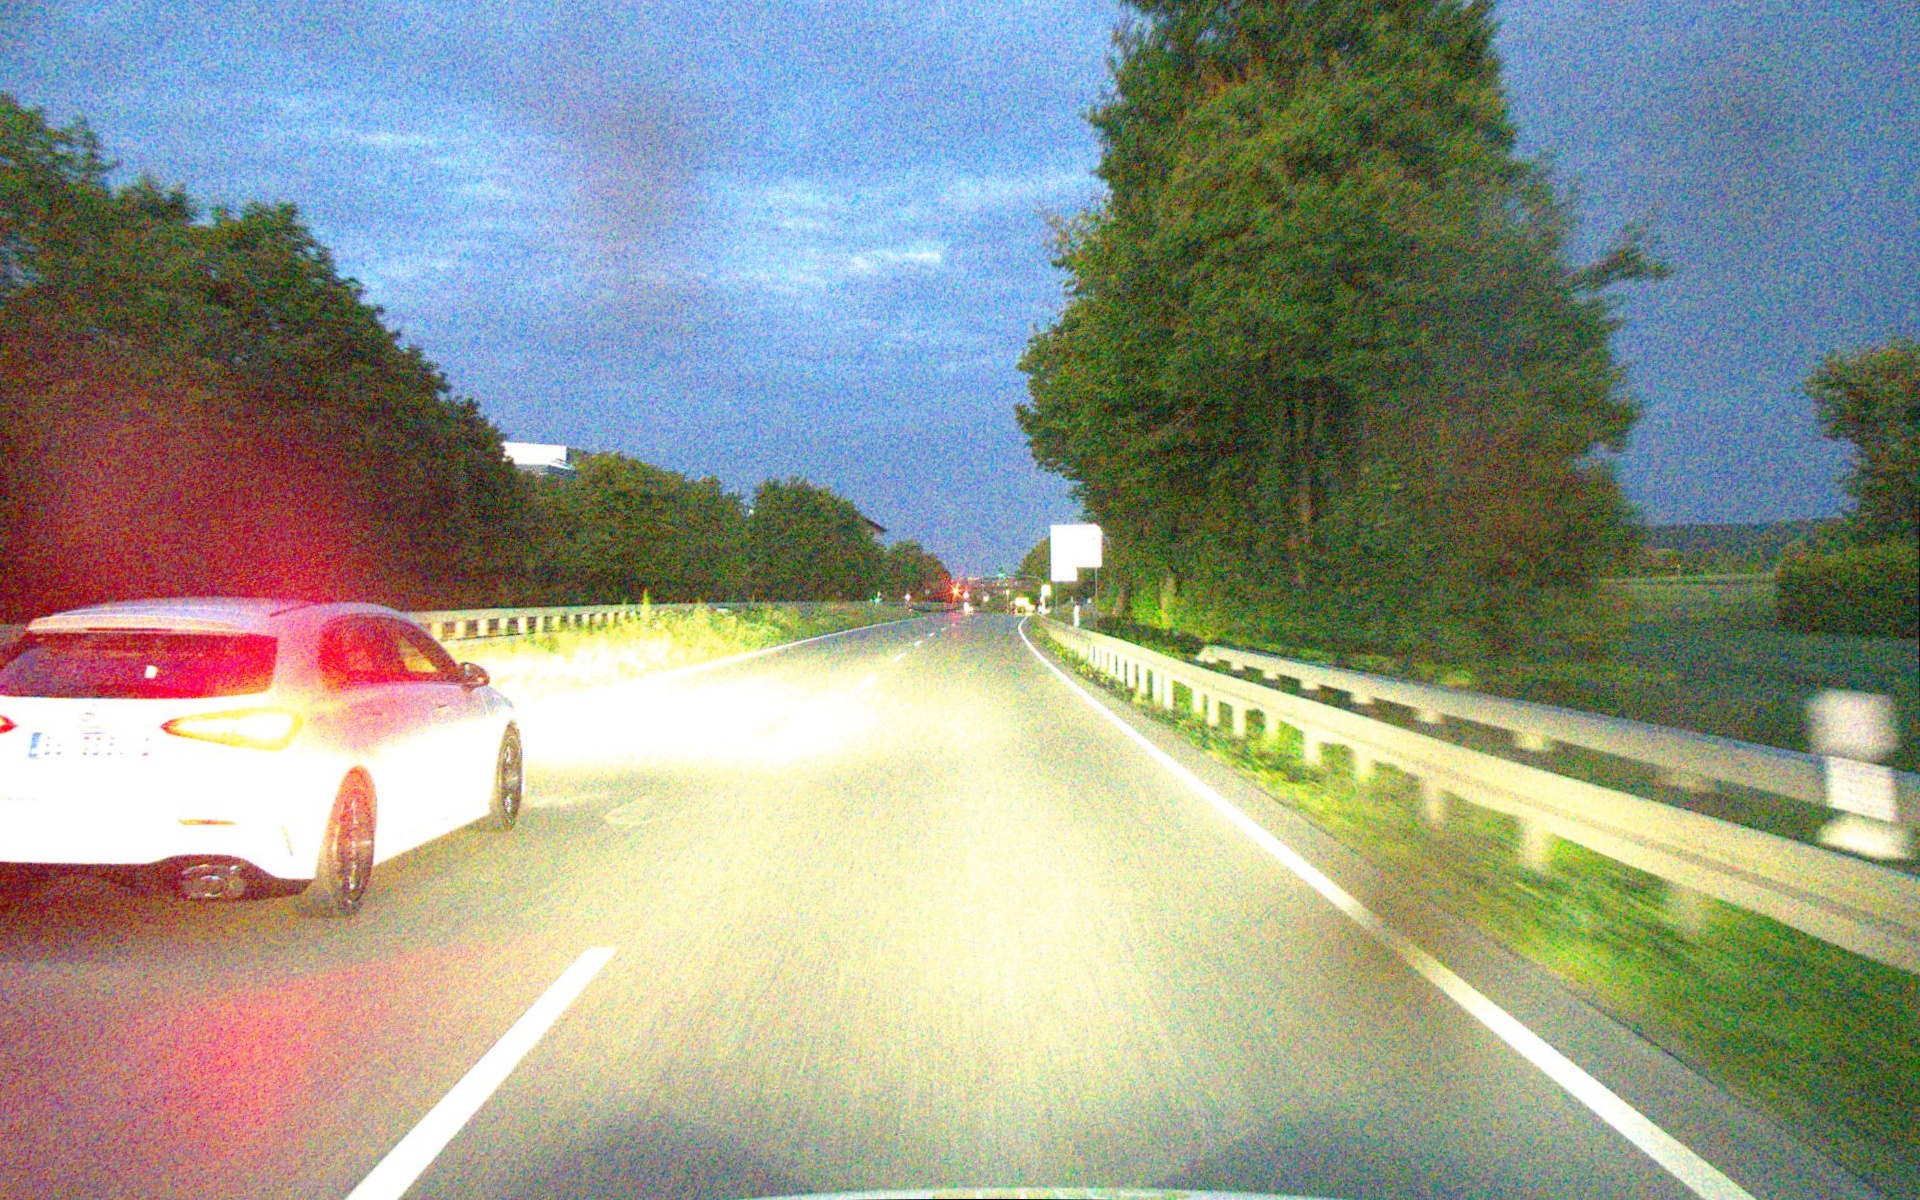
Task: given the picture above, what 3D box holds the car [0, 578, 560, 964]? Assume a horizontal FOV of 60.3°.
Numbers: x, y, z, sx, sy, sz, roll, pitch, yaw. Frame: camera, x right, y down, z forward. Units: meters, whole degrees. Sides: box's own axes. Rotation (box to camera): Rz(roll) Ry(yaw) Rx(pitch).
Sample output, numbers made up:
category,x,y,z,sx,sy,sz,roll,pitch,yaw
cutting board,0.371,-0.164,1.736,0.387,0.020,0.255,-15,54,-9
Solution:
category,x,y,z,sx,sy,sz,roll,pitch,yaw
car,-3.469,0.674,8.842,1.608,1.516,4.578,1,0,-1
